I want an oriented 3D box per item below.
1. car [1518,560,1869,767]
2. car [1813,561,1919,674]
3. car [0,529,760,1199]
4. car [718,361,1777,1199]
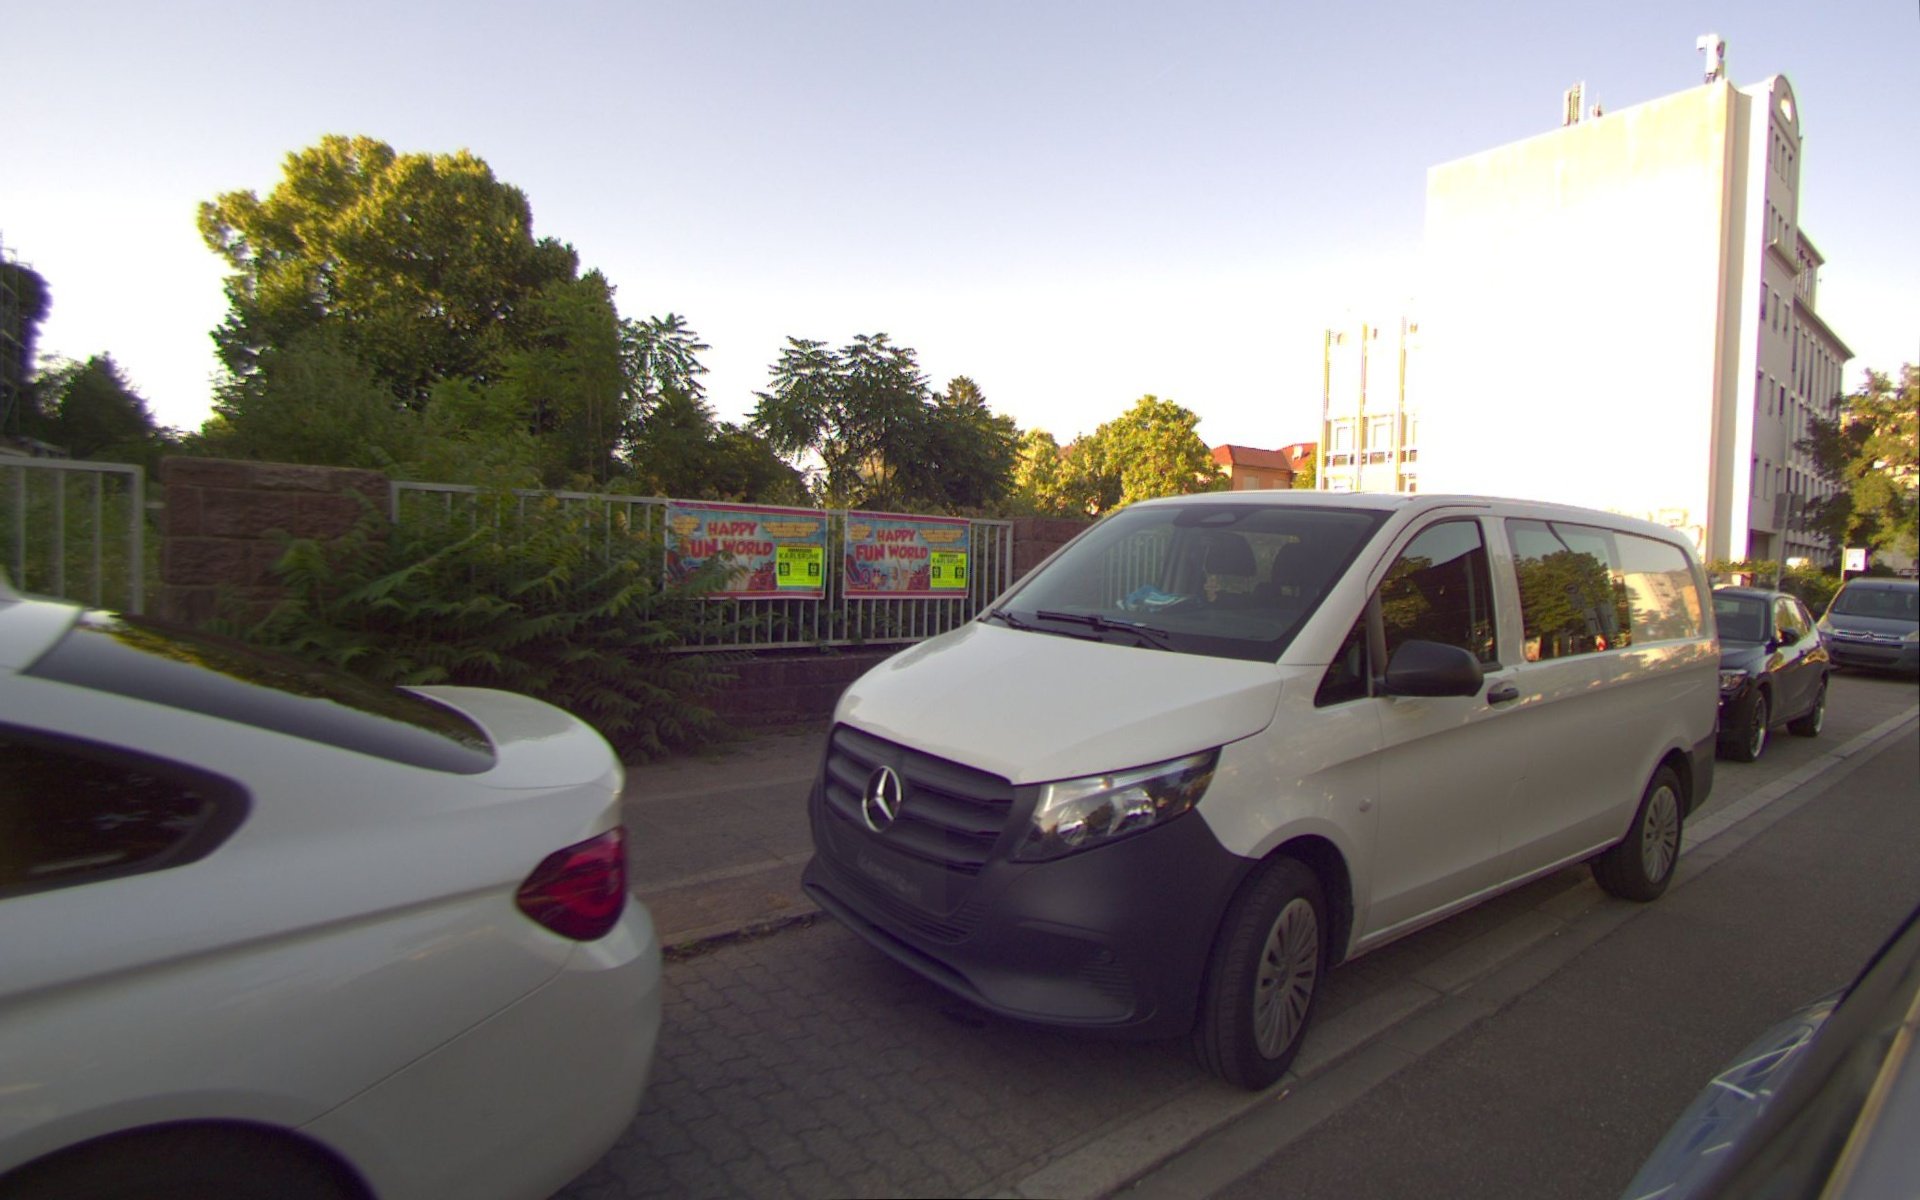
[{"bbox_3d":[7.624,0.481,10.354,4.419,1.593,1.779,0,5,-40],"label":"car"},{"bbox_3d":[17.813,0.282,19.063,4.474,1.850,1.779,0,5,-39],"label":"car"},{"bbox_3d":[-2.713,0.618,1.202,4.560,1.401,1.733,-1,6,-40],"label":"car"},{"bbox_3d":[1.698,0.361,4.589,5.084,1.941,1.894,0,4,-38],"label":"car"}]
